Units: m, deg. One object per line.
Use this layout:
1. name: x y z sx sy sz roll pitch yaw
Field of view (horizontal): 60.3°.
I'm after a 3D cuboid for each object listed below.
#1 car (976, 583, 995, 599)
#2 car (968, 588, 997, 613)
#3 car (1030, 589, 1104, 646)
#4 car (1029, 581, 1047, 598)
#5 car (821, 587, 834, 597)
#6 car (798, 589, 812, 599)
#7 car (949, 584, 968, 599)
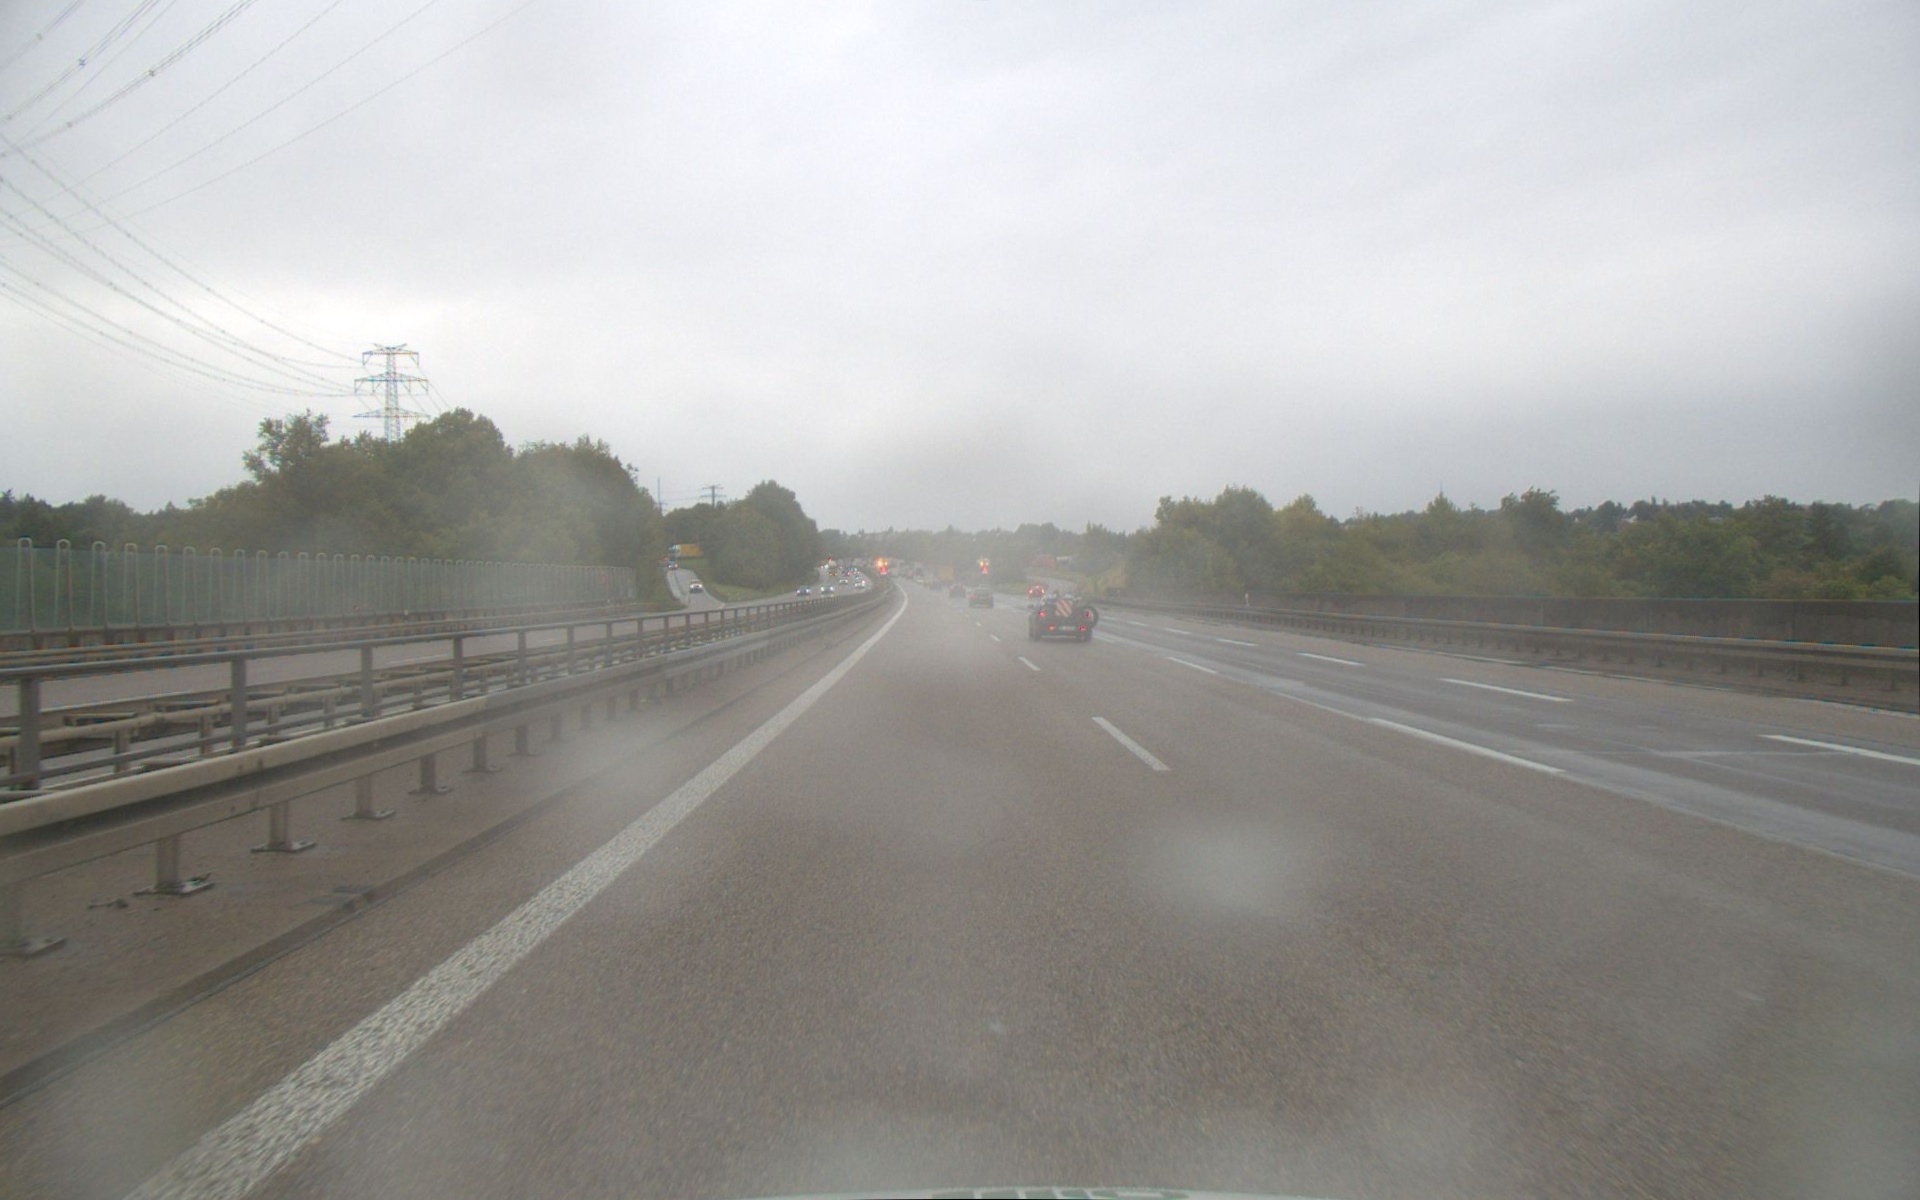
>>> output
1. car: 2.999 -1.023 194.945 1.954 1.791 3.998 -2 1 -3
2. car: 1.692 0.021 125.559 1.954 1.791 3.998 -2 1 -3
3. car: 3.352 0.526 52.669 2.015 1.700 5.522 0 0 0
4. car: 8.663 -1.178 184.103 1.882 1.739 4.002 -1 1 3
5. car: -20.382 -1.244 254.254 1.779 1.462 4.088 -2 1 -1
6. car: -22.590 -0.886 241.484 1.779 1.413 4.088 -2 1 -1
7. car: -0.193 -0.959 186.967 1.954 1.657 3.998 -2 1 -3
